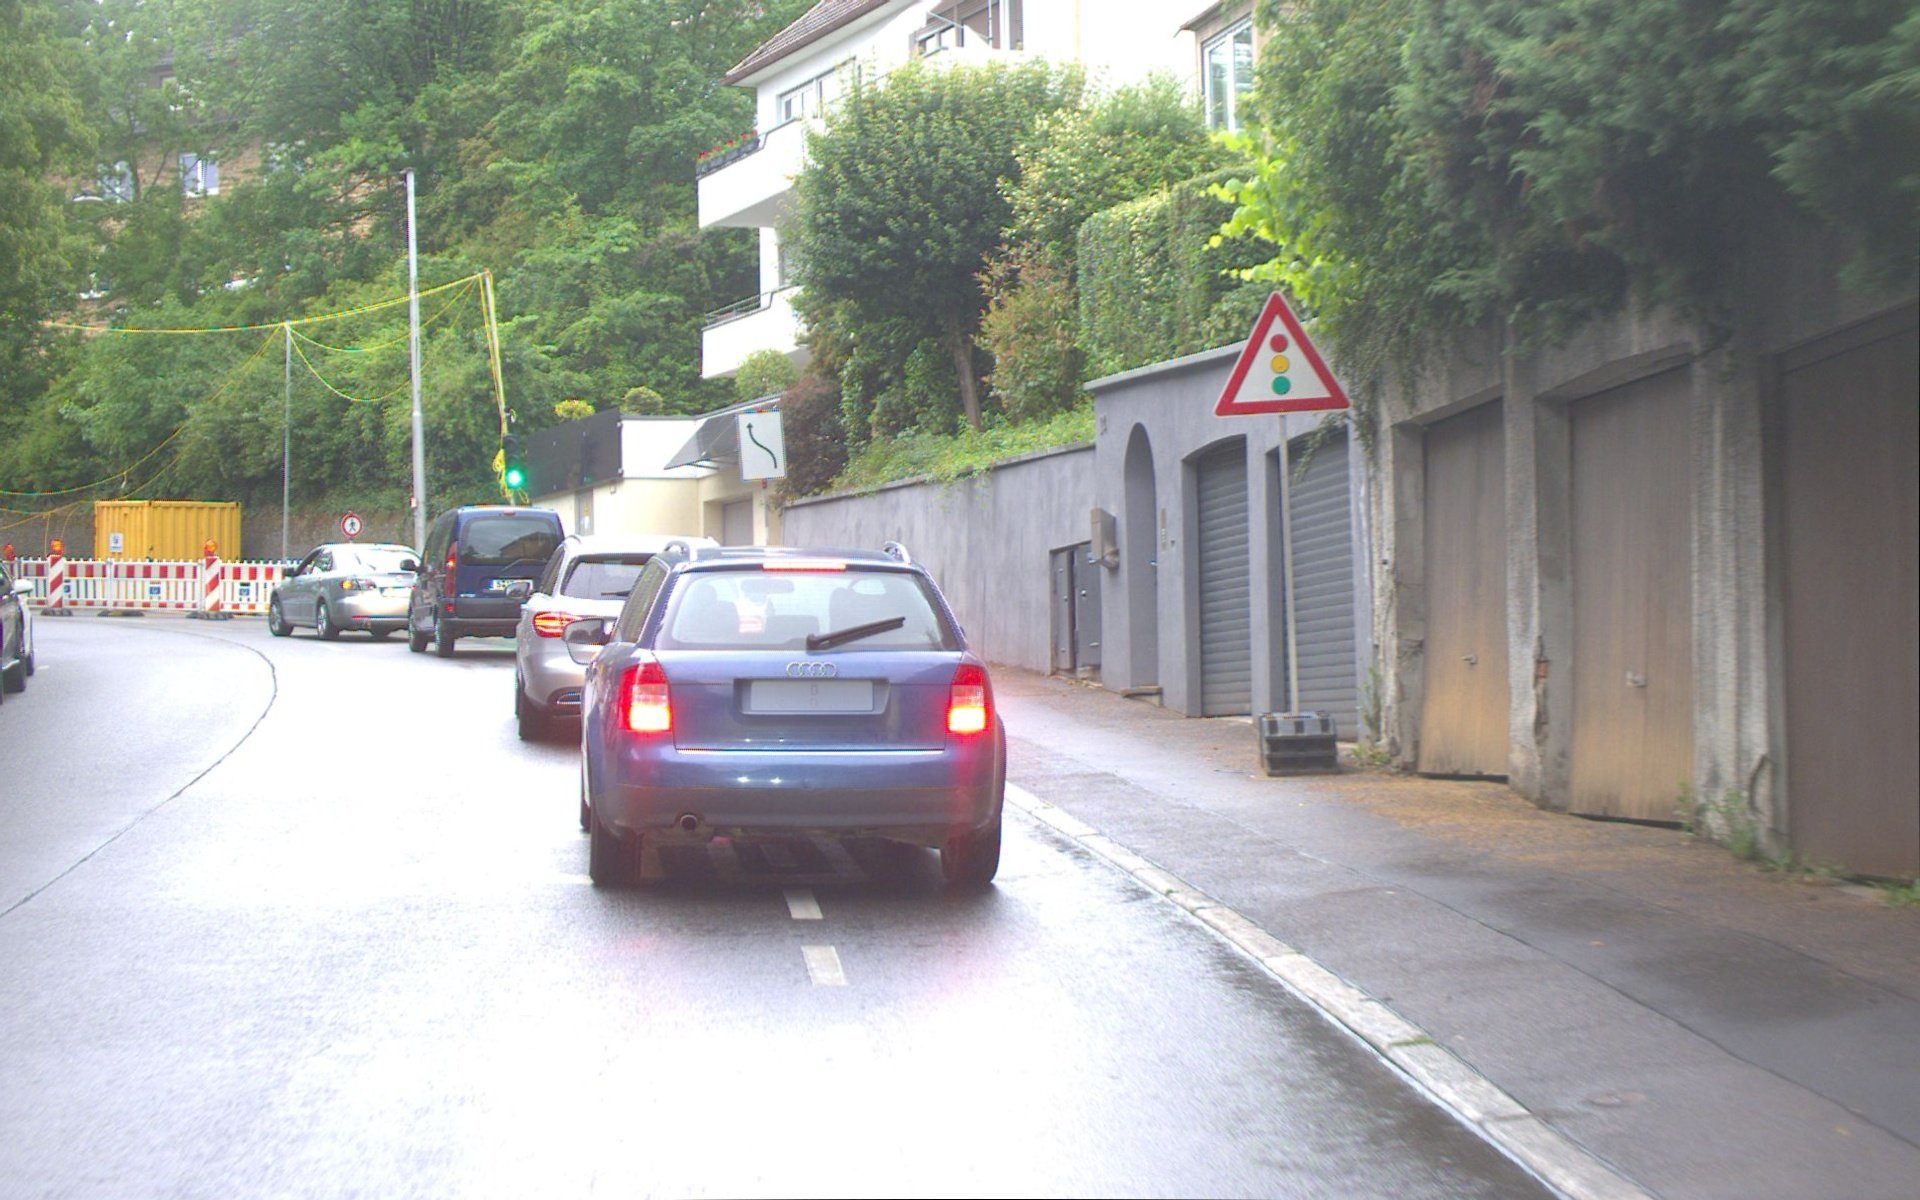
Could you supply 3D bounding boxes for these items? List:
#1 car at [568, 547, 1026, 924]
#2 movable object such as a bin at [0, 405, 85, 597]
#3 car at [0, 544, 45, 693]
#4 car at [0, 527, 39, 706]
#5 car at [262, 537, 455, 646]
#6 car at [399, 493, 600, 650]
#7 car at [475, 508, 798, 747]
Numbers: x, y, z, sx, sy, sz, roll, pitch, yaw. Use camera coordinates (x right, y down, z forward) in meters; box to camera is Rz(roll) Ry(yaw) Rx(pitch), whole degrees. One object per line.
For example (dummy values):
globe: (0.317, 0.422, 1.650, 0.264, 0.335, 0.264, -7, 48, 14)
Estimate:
car: (-0.828, 0.499, 15.500, 1.785, 1.437, 3.964, -1, 1, -6)
movable object such as a bin: (-22.325, -2.153, 74.752, 7.321, 4.000, 2.822, 1, 2, 42)
car: (-11.154, 0.210, 37.947, 1.681, 1.503, 4.317, -4, 2, -11)
car: (-9.974, 0.186, 33.206, 1.681, 1.603, 4.578, -6, 3, -12)
car: (-8.899, -0.150, 50.616, 1.720, 1.481, 4.077, -2, 2, -26)
car: (-5.767, -0.379, 42.699, 1.993, 1.787, 4.001, -2, 1, -14)
car: (-2.487, 0.129, 25.504, 1.925, 1.612, 4.322, 0, 1, -12)
